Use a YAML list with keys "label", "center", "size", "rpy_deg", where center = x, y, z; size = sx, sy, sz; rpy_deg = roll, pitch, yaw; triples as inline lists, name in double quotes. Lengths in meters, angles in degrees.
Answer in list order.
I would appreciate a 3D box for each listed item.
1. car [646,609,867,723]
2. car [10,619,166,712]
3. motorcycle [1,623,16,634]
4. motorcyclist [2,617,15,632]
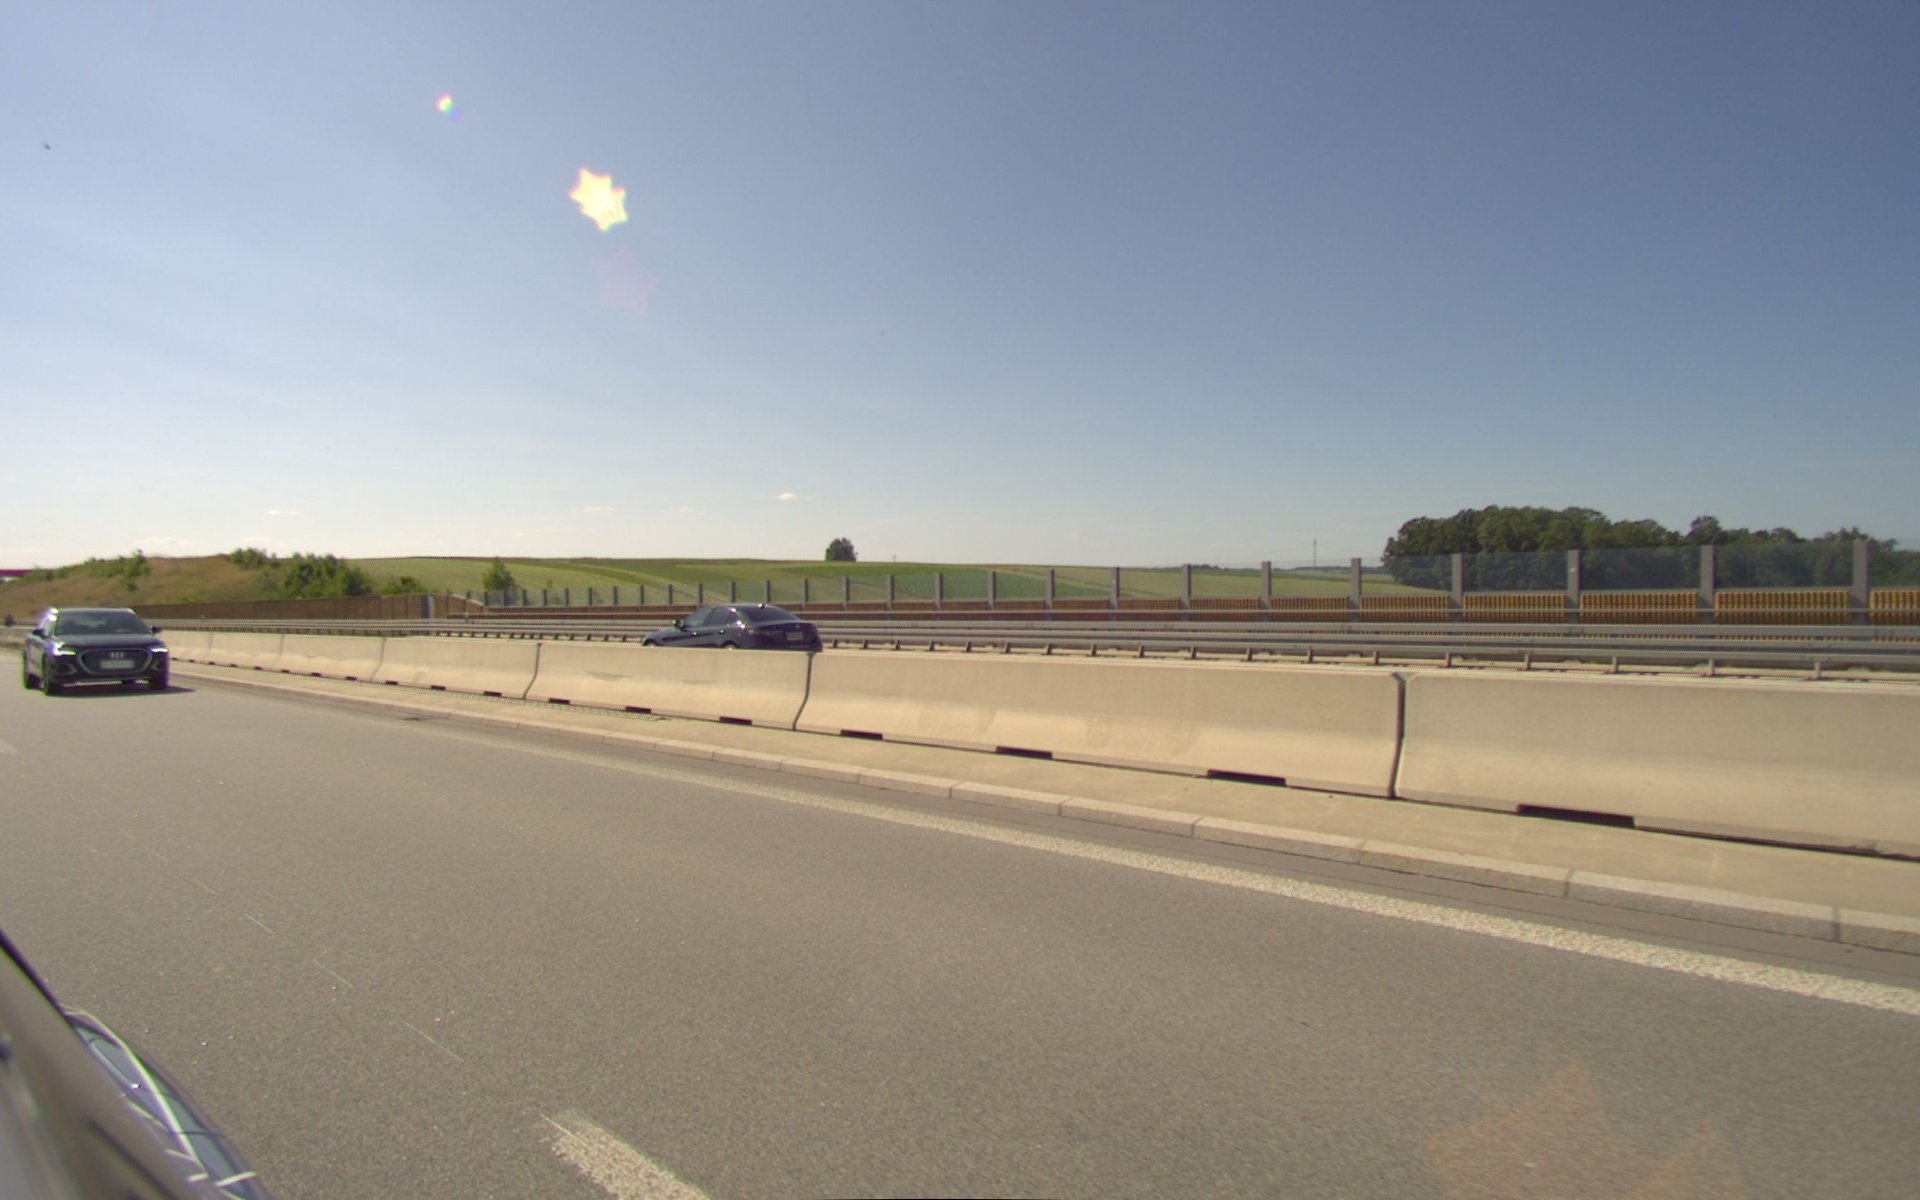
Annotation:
- label: "car"
  center: [-4.223, 1.217, 20.507]
  size: [4.760, 2.029, 1.972]
  rpy_deg: [-1, -1, 42]
- label: "car"
  center: [-17.495, 1.199, 20.208]
  size: [5.220, 1.600, 1.704]
  rpy_deg: [-1, -1, 42]
- label: "motorcycle"
  center: [-106.540, 3.215, 113.295]
  size: [2.867, 1.176, 1.002]
  rpy_deg: [-1, -1, 41]
- label: "motorcyclist"
  center: [-106.515, 2.745, 113.278]
  size: [1.428, 1.575, 1.002]
  rpy_deg: [-1, -1, 41]
